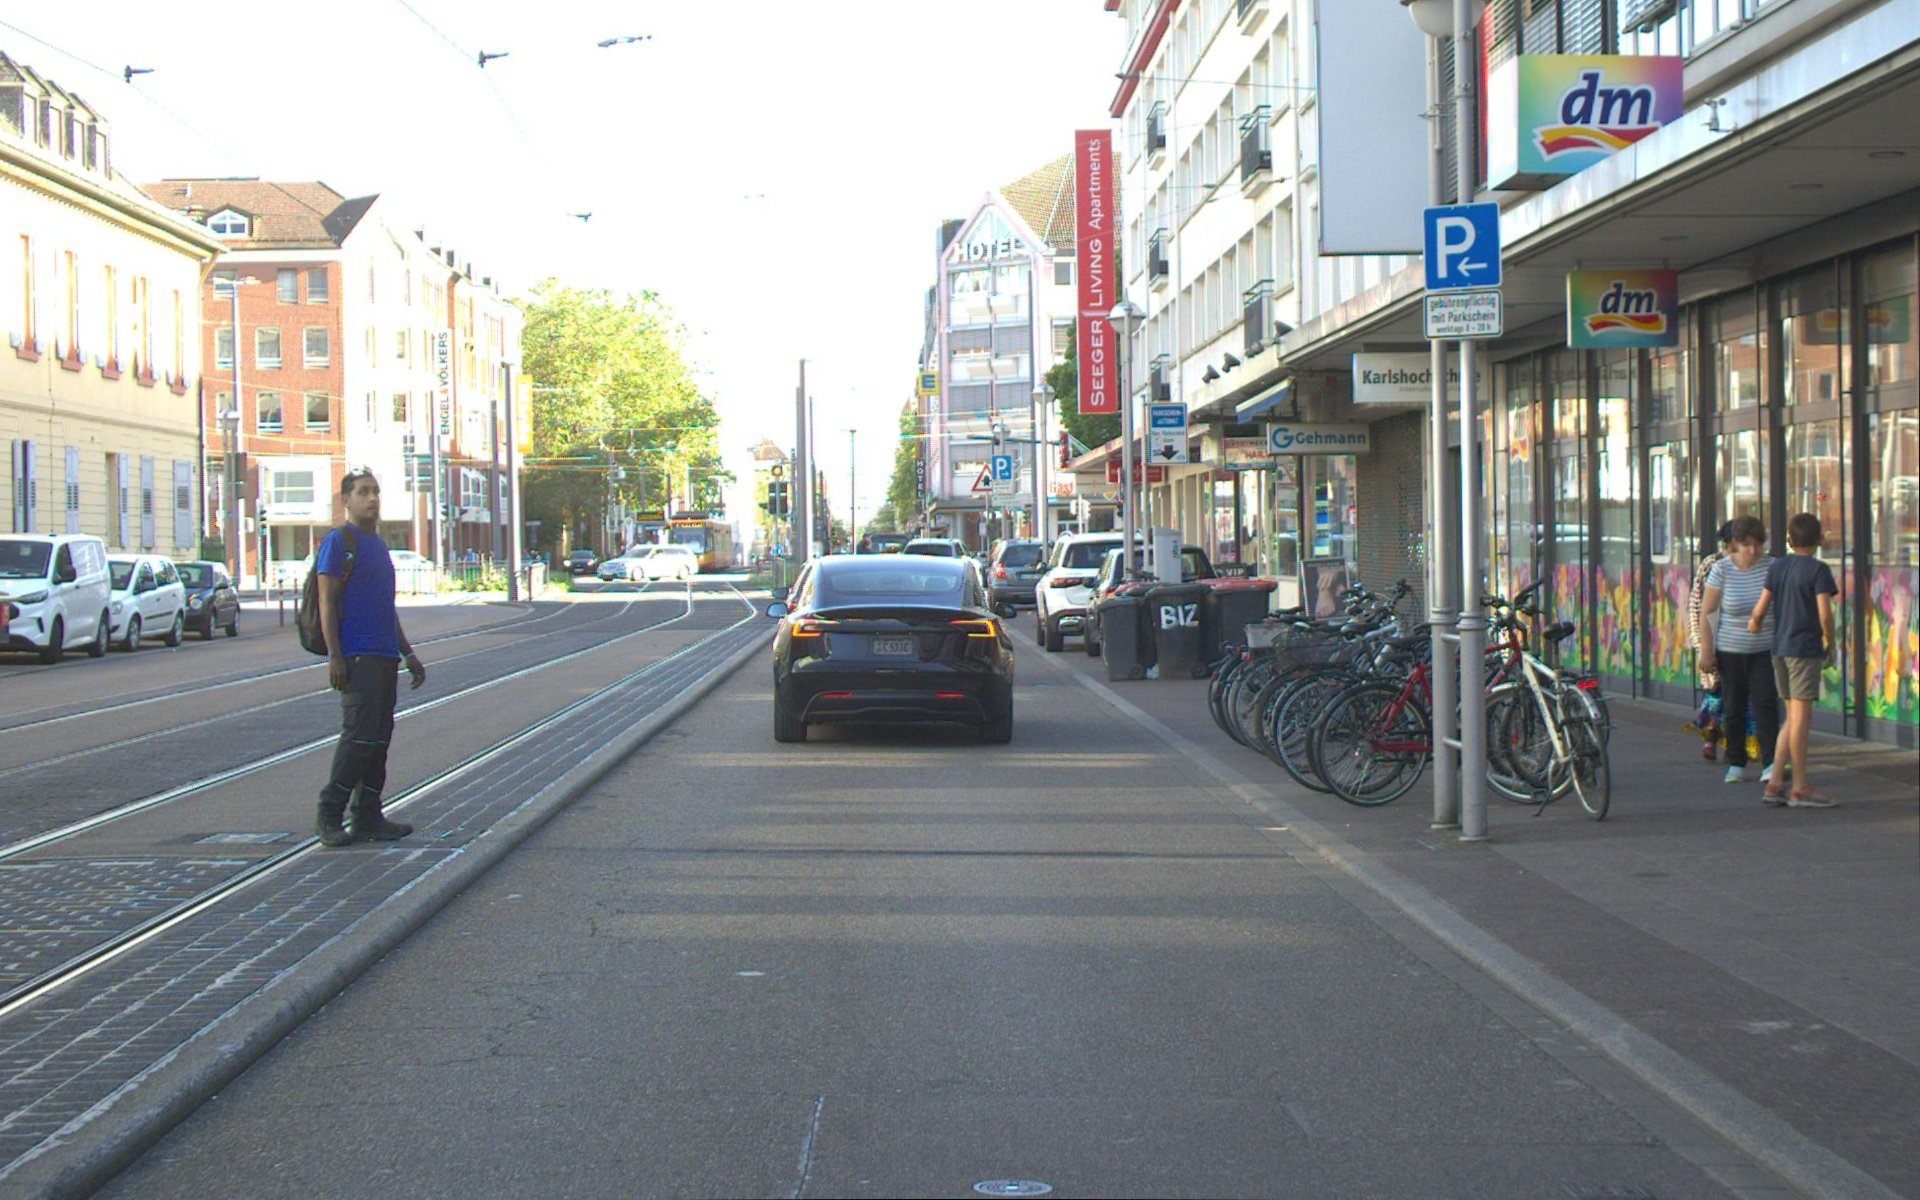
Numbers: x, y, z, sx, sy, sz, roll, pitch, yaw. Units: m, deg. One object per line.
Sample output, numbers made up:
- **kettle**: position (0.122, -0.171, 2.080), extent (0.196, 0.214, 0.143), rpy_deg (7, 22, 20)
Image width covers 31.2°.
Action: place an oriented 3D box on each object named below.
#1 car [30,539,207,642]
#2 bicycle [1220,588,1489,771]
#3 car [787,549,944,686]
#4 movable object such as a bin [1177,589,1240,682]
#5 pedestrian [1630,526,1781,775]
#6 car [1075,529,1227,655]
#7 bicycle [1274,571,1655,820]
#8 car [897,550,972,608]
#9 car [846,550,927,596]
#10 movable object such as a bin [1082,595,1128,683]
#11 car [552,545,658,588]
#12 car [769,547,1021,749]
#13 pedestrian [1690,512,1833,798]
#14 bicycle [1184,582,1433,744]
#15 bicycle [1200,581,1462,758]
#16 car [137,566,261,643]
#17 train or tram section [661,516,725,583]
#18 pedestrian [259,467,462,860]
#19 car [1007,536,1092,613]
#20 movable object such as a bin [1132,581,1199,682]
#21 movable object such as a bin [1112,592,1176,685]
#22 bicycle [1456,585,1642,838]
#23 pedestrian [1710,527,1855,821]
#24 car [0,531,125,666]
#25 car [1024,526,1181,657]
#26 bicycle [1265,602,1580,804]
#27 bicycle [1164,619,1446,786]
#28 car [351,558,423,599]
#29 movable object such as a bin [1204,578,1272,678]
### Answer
- **car**: position (-14.551, -0.177, 59.696), extent (1.808, 1.680, 4.648), rpy_deg (1, 0, 1)
- **bicycle**: position (2.766, 0.553, 24.213), extent (1.787, 1.213, 0.587), rpy_deg (-2, 1, -2)
- **car**: position (-1.026, 0.158, 38.823), extent (1.653, 1.413, 4.000), rpy_deg (1, 1, 0)
- **movable object such as a bin**: position (2.790, 0.398, 38.656), extent (0.658, 1.010, 0.636), rpy_deg (-1, 0, 2)
- **pedestrian**: position (4.583, 0.309, 21.142), extent (0.581, 1.481, 0.597), rpy_deg (-3, 1, -32)
- **car**: position (2.456, -0.122, 45.058), extent (1.614, 1.523, 4.071), rpy_deg (-2, 1, -2)
- **bicycle**: position (2.893, 0.534, 19.738), extent (2.035, 1.270, 0.525), rpy_deg (-4, 1, -10)
- **car**: position (-0.725, -0.583, 94.670), extent (1.783, 1.514, 4.219), rpy_deg (1, 0, -4)
- **car**: position (-2.518, -0.927, 116.884), extent (1.824, 1.514, 4.219), rpy_deg (1, 1, -14)
- **movable object such as a bin**: position (1.613, 0.429, 38.254), extent (0.487, 0.955, 0.457), rpy_deg (-2, 0, 2)
- **car**: position (-14.821, -1.411, 143.552), extent (3.986, 1.672, 2.000), rpy_deg (-2, 1, -23)
- **car**: position (-0.550, 0.340, 27.284), extent (1.849, 1.479, 3.787), rpy_deg (1, 0, -2)
- **pedestrian**: position (4.574, 0.305, 19.640), extent (0.581, 1.580, 0.598), rpy_deg (-3, 1, -3)
- **bicycle**: position (2.652, 0.473, 26.238), extent (1.787, 1.155, 0.669), rpy_deg (-2, 1, -2)
- **bicycle**: position (2.691, 0.498, 25.030), extent (1.787, 1.213, 0.669), rpy_deg (-2, 1, -2)
- **car**: position (-14.404, 0.070, 65.238), extent (1.614, 1.396, 3.720), rpy_deg (1, 0, -2)
- **train or tram section**: position (-15.363, -2.893, 198.736), extent (2.674, 3.703, 14.193), rpy_deg (1, 1, -1)
- **pedestrian**: position (-2.895, 0.297, 16.675), extent (0.804, 1.831, 0.746), rpy_deg (-2, 0, -2)
- **car**: position (2.006, -0.599, 78.037), extent (1.745, 1.626, 3.649), rpy_deg (-2, 1, -1)
- **movable object such as a bin**: position (2.268, 0.341, 38.007), extent (0.690, 1.085, 0.685), rpy_deg (-2, 0, 2)
- **movable object such as a bin**: position (2.068, 0.432, 38.704), extent (0.686, 1.010, 0.508), rpy_deg (-1, 0, 2)
- **bicycle**: position (3.118, 0.565, 18.326), extent (0.581, 1.253, 1.602), rpy_deg (-3, 1, -3)
- **pedestrian**: position (4.301, 0.378, 17.997), extent (0.523, 1.488, 0.583), rpy_deg (-3, 1, -3)
- **car**: position (-14.461, -0.055, 53.111), extent (1.993, 1.968, 5.097), rpy_deg (1, 0, -2)
- **car**: position (2.024, -0.143, 50.130), extent (1.849, 1.718, 5.193), rpy_deg (-3, 1, -2)
- **bicycle**: position (2.758, 0.604, 20.529), extent (1.773, 1.127, 0.479), rpy_deg (-2, 1, -6)
- **bicycle**: position (2.282, 0.676, 22.835), extent (1.773, 1.028, 0.597), rpy_deg (-2, 1, -2)
- **car**: position (-21.111, -0.810, 126.753), extent (1.903, 1.459, 4.000), rpy_deg (1, 0, 1)
- **movable object such as a bin**: position (3.075, 0.306, 38.120), extent (0.690, 1.085, 0.666), rpy_deg (-2, 0, 2)
